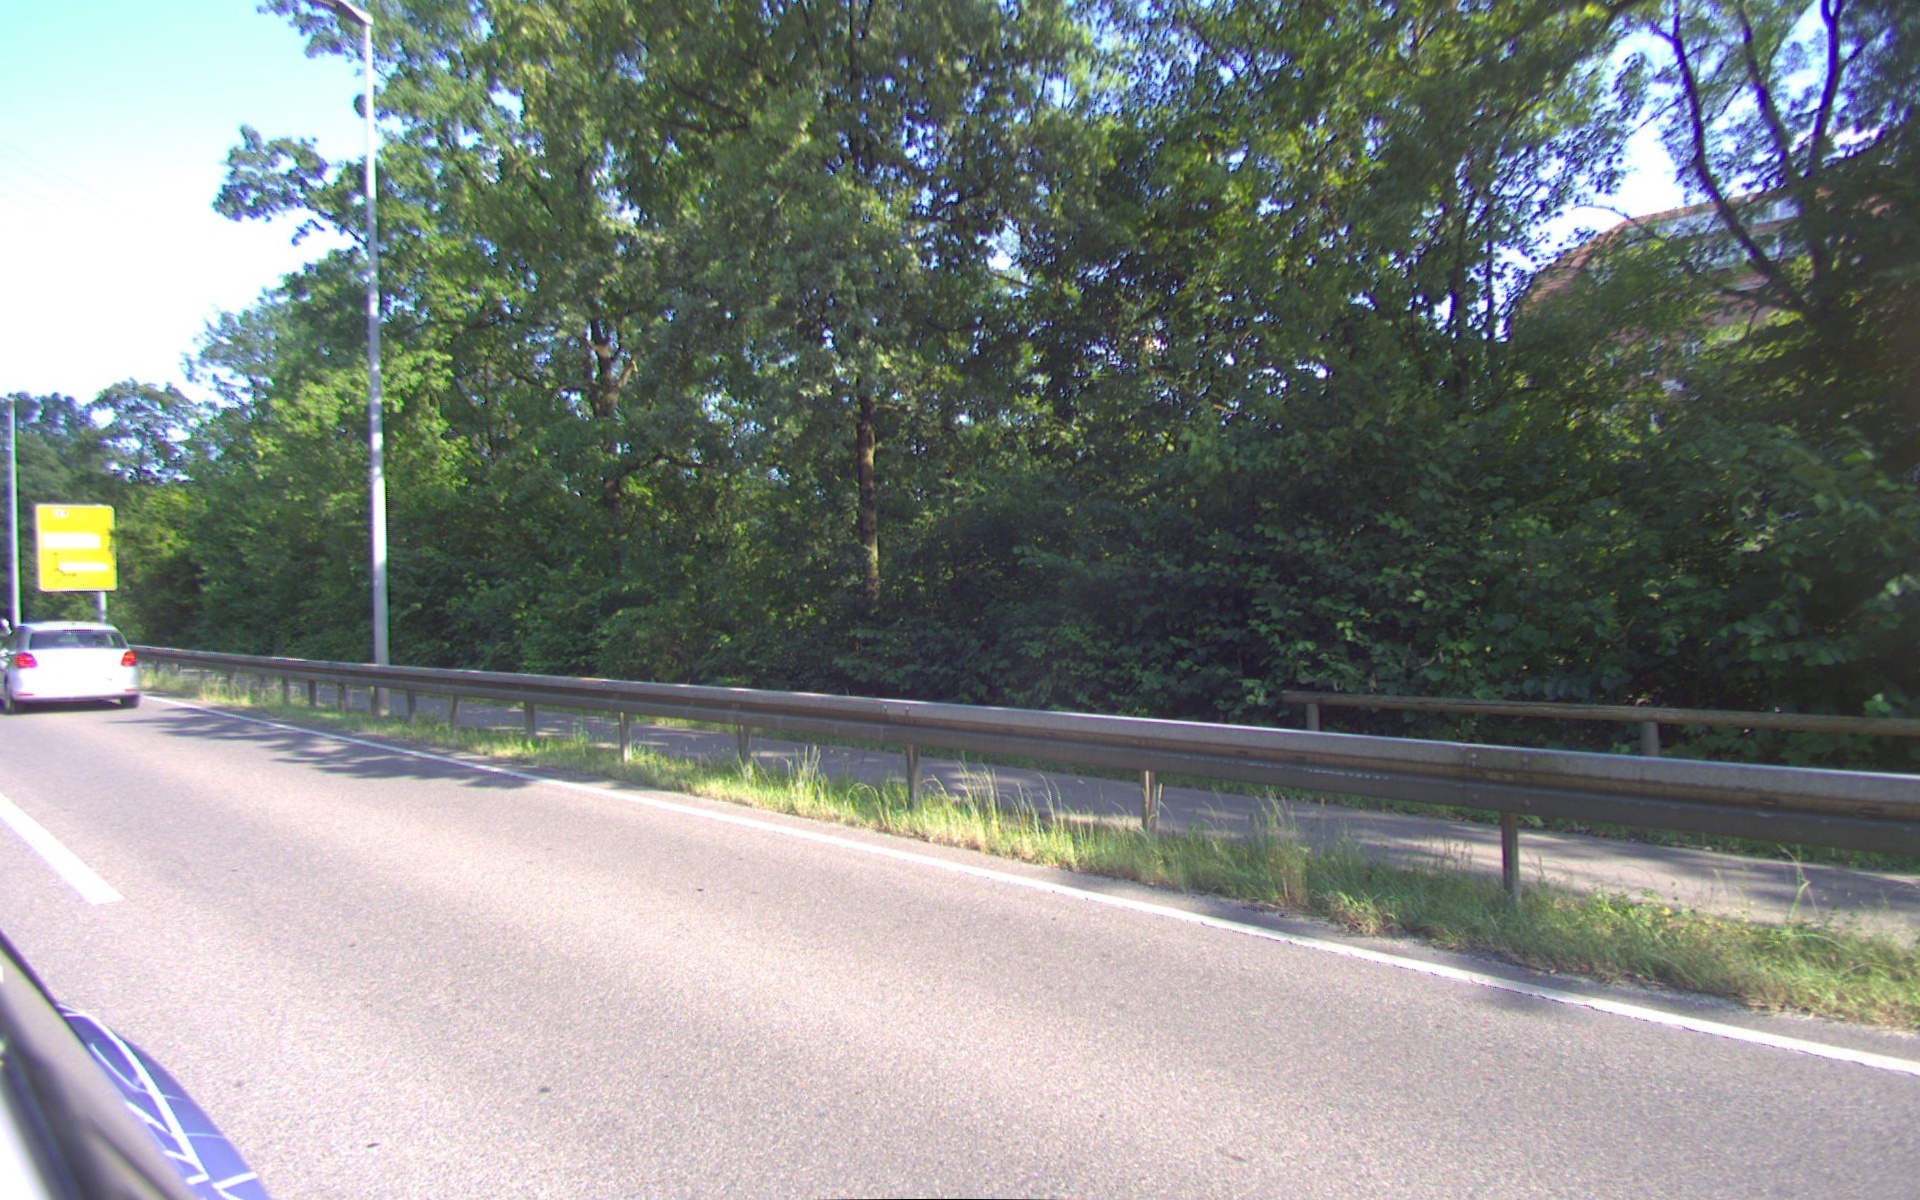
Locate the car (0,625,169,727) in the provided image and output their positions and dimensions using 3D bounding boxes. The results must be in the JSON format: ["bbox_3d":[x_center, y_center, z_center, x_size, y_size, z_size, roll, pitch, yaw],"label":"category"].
[{"bbox_3d":[-13.816,1.089,15.741,4.044,1.387,1.606,-1,-2,41],"label":"car"}]
